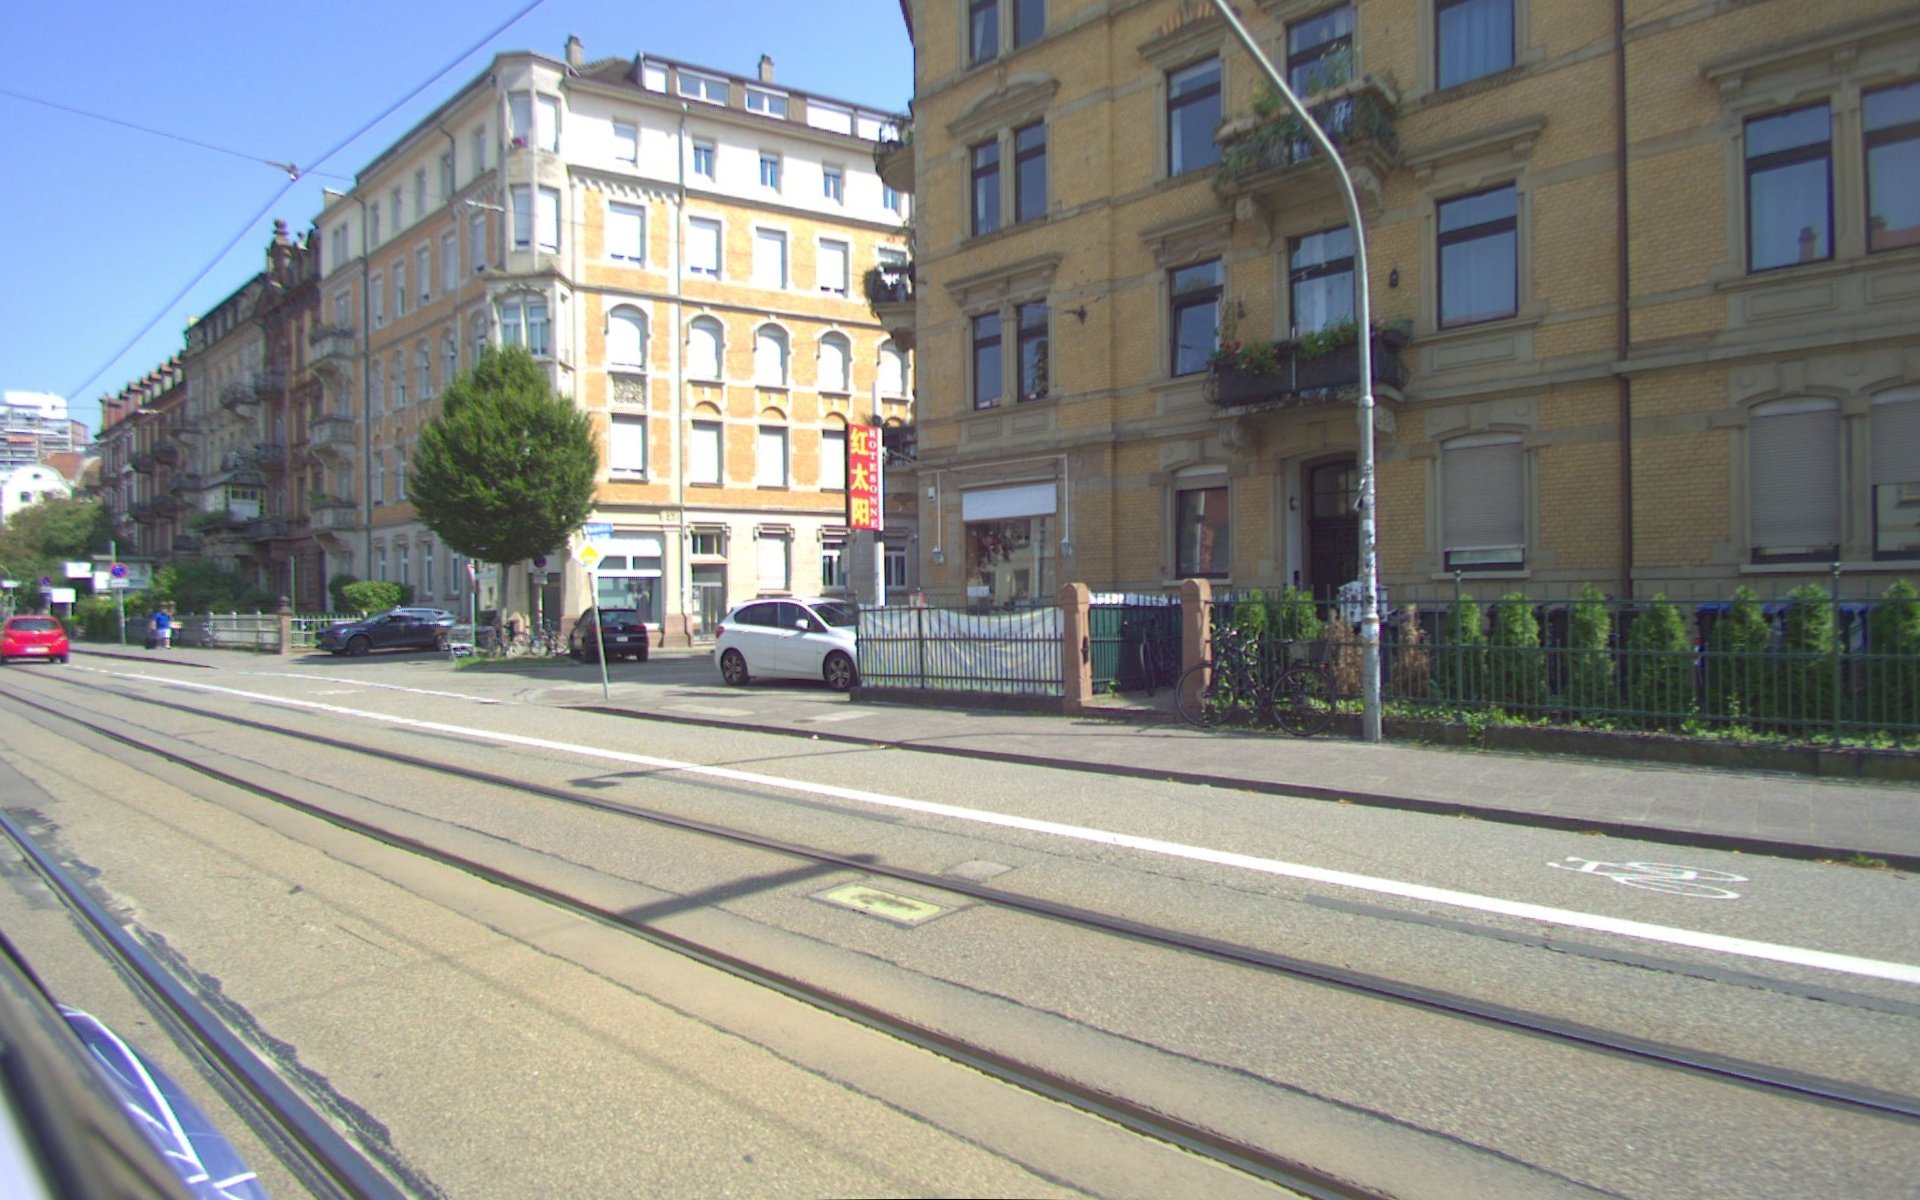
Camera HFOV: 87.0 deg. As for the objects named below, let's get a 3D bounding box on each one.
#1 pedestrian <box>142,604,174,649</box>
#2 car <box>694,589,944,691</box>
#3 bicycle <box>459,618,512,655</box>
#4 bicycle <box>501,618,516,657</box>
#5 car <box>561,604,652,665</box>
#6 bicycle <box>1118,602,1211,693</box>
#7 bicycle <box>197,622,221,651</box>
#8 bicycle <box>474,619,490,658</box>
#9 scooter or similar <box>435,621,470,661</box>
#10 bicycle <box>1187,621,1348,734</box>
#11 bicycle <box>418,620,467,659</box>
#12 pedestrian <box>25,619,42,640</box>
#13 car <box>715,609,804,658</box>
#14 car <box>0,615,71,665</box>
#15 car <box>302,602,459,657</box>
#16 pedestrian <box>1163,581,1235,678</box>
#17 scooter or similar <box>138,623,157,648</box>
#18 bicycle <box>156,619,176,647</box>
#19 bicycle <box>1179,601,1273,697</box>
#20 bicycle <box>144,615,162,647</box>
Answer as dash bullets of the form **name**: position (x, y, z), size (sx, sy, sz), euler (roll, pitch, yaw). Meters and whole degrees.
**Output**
- **pedestrian**: position (-31.914, 1.046, 40.271), size (0.869, 1.769, 0.874), euler (-1, -1, 41)
- **car**: position (-2.591, 0.668, 18.111), size (4.352, 1.606, 1.975), euler (-1, -1, 37)
- **bicycle**: position (-14.776, 1.124, 31.539), size (1.428, 1.107, 0.391), euler (-1, -1, -38)
- **bicycle**: position (-13.336, 1.093, 29.900), size (0.384, 1.107, 1.456), euler (-1, 0, -24)
- **car**: position (-10.885, 1.005, 31.013), size (1.965, 1.701, 4.373), euler (0, -1, -28)
- **bicycle**: position (2.702, 0.589, 13.275), size (0.391, 1.119, 1.545), euler (-2, -1, 45)
- **bicycle**: position (-28.492, 1.383, 38.389), size (1.832, 1.046, 0.386), euler (-2, -1, 42)
- **bicycle**: position (-14.009, 1.115, 29.687), size (0.384, 1.107, 1.456), euler (-1, 0, -24)
- **scooter or similar**: position (-14.590, 1.158, 29.077), size (0.588, 1.107, 1.392), euler (-1, -1, -39)
- **bicycle**: position (3.190, 0.781, 10.591), size (1.566, 1.107, 0.386), euler (-1, -1, 39)
- **bicycle**: position (-15.417, 1.169, 30.170), size (0.387, 1.107, 1.443), euler (-2, 0, 18)
- **pedestrian**: position (-93.003, 2.934, 101.598), size (1.036, 2.029, 1.080), euler (-1, 1, 40)
- **car**: position (-6.732, 1.063, 33.680), size (1.818, 1.487, 3.770), euler (0, 0, -29)
- **car**: position (-29.794, 1.239, 32.197), size (3.997, 1.501, 1.714), euler (-1, -2, 40)
- **car**: position (-18.922, 0.928, 33.165), size (1.878, 1.606, 4.058), euler (-1, 0, 42)
- **pedestrian**: position (3.873, 0.468, 16.394), size (0.883, 1.522, 0.860), euler (-1, -1, 32)
- **scooter or similar**: position (-32.364, 1.407, 40.308), size (0.583, 0.990, 0.397), euler (-1, 1, 33)
- **bicycle**: position (-33.099, 1.361, 42.178), size (1.581, 1.156, 0.386), euler (-2, -1, 42)
- **bicycle**: position (3.328, 0.579, 12.573), size (0.391, 1.107, 1.545), euler (-2, -1, 45)
- **bicycle**: position (-35.721, 1.368, 44.789), size (1.581, 1.416, 0.386), euler (-2, -1, 42)
